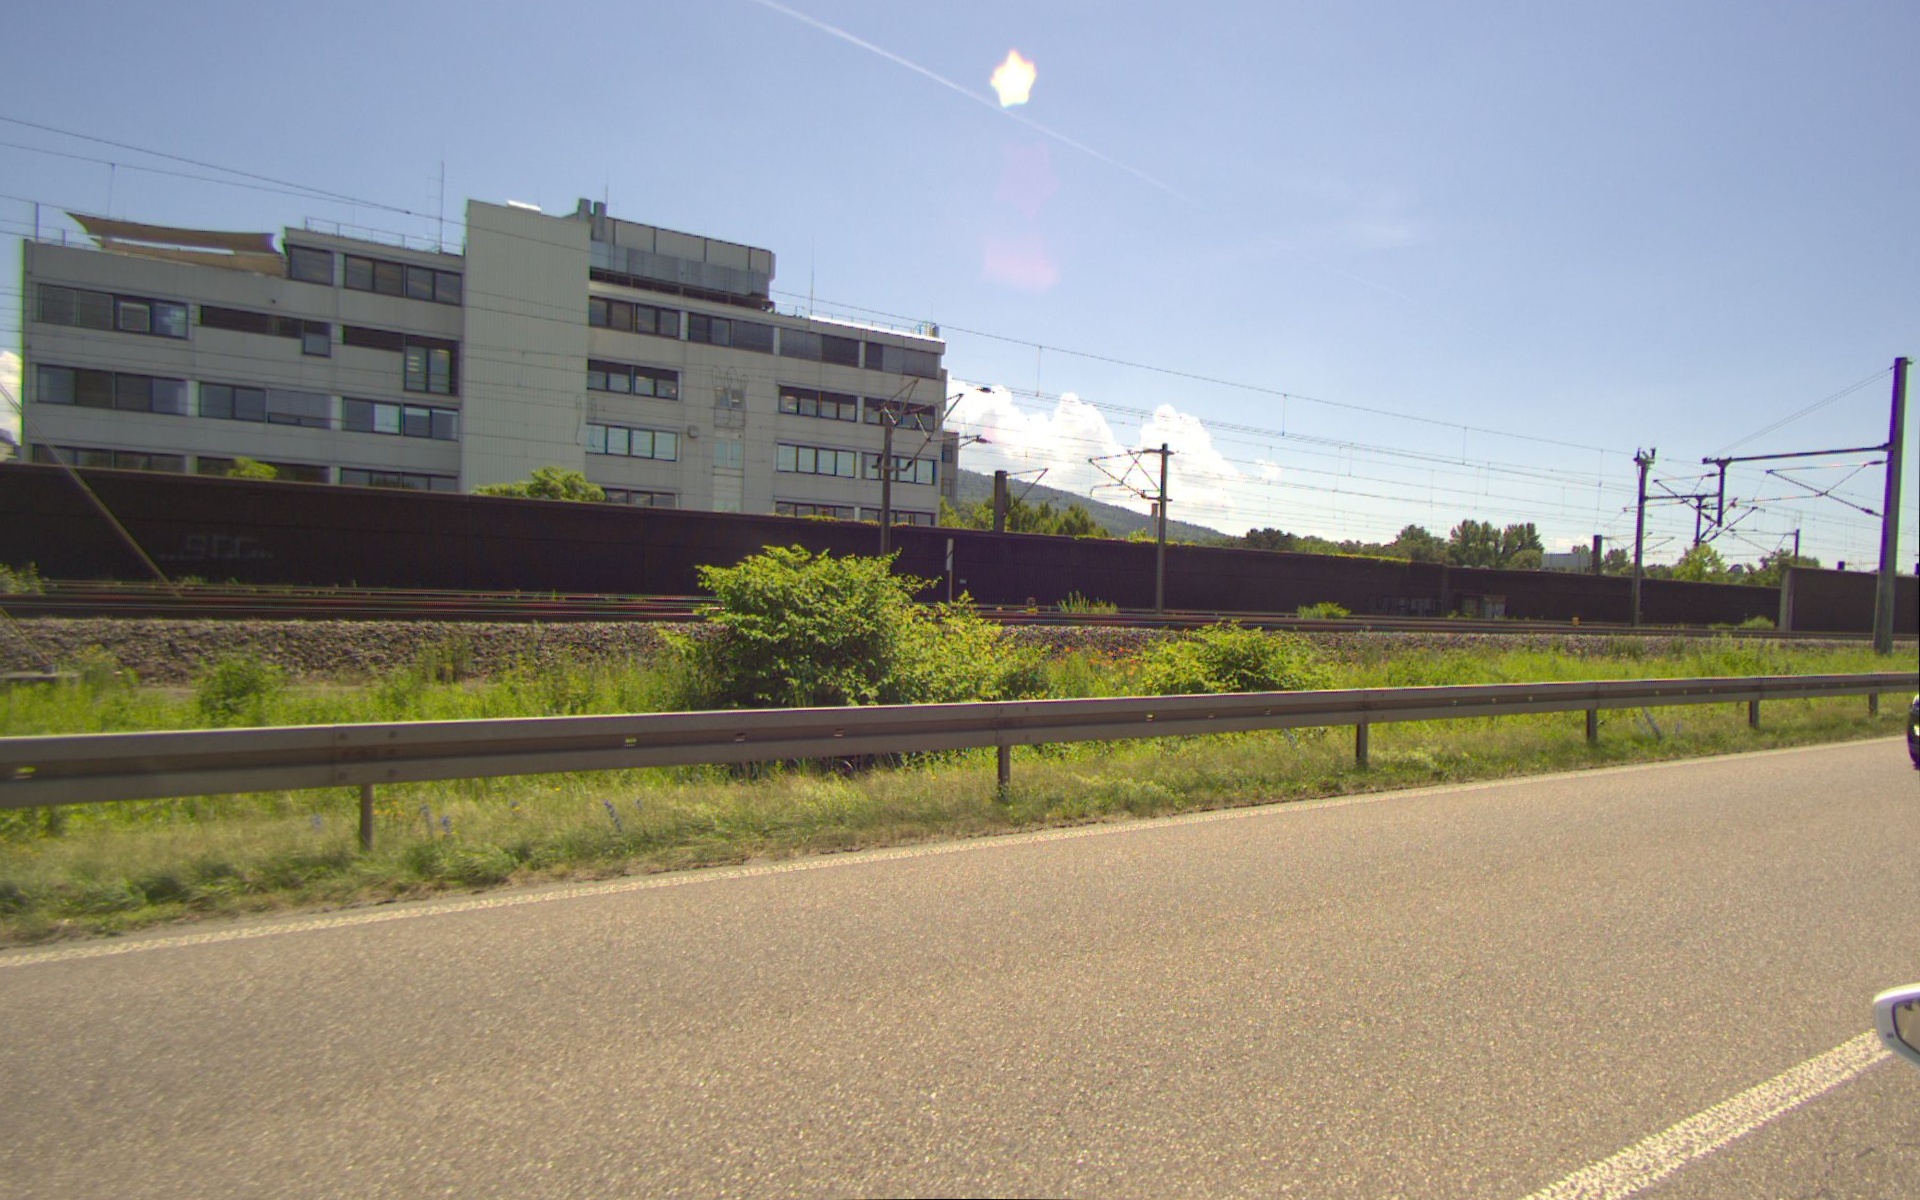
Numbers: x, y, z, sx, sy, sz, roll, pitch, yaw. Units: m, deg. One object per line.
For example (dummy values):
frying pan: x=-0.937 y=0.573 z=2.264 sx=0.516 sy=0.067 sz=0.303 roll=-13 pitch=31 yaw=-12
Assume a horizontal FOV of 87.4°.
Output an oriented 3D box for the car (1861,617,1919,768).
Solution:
car: x=11.830 y=1.008 z=10.846 sx=4.114 sy=1.528 sz=1.965 roll=2 pitch=0 yaw=-30
